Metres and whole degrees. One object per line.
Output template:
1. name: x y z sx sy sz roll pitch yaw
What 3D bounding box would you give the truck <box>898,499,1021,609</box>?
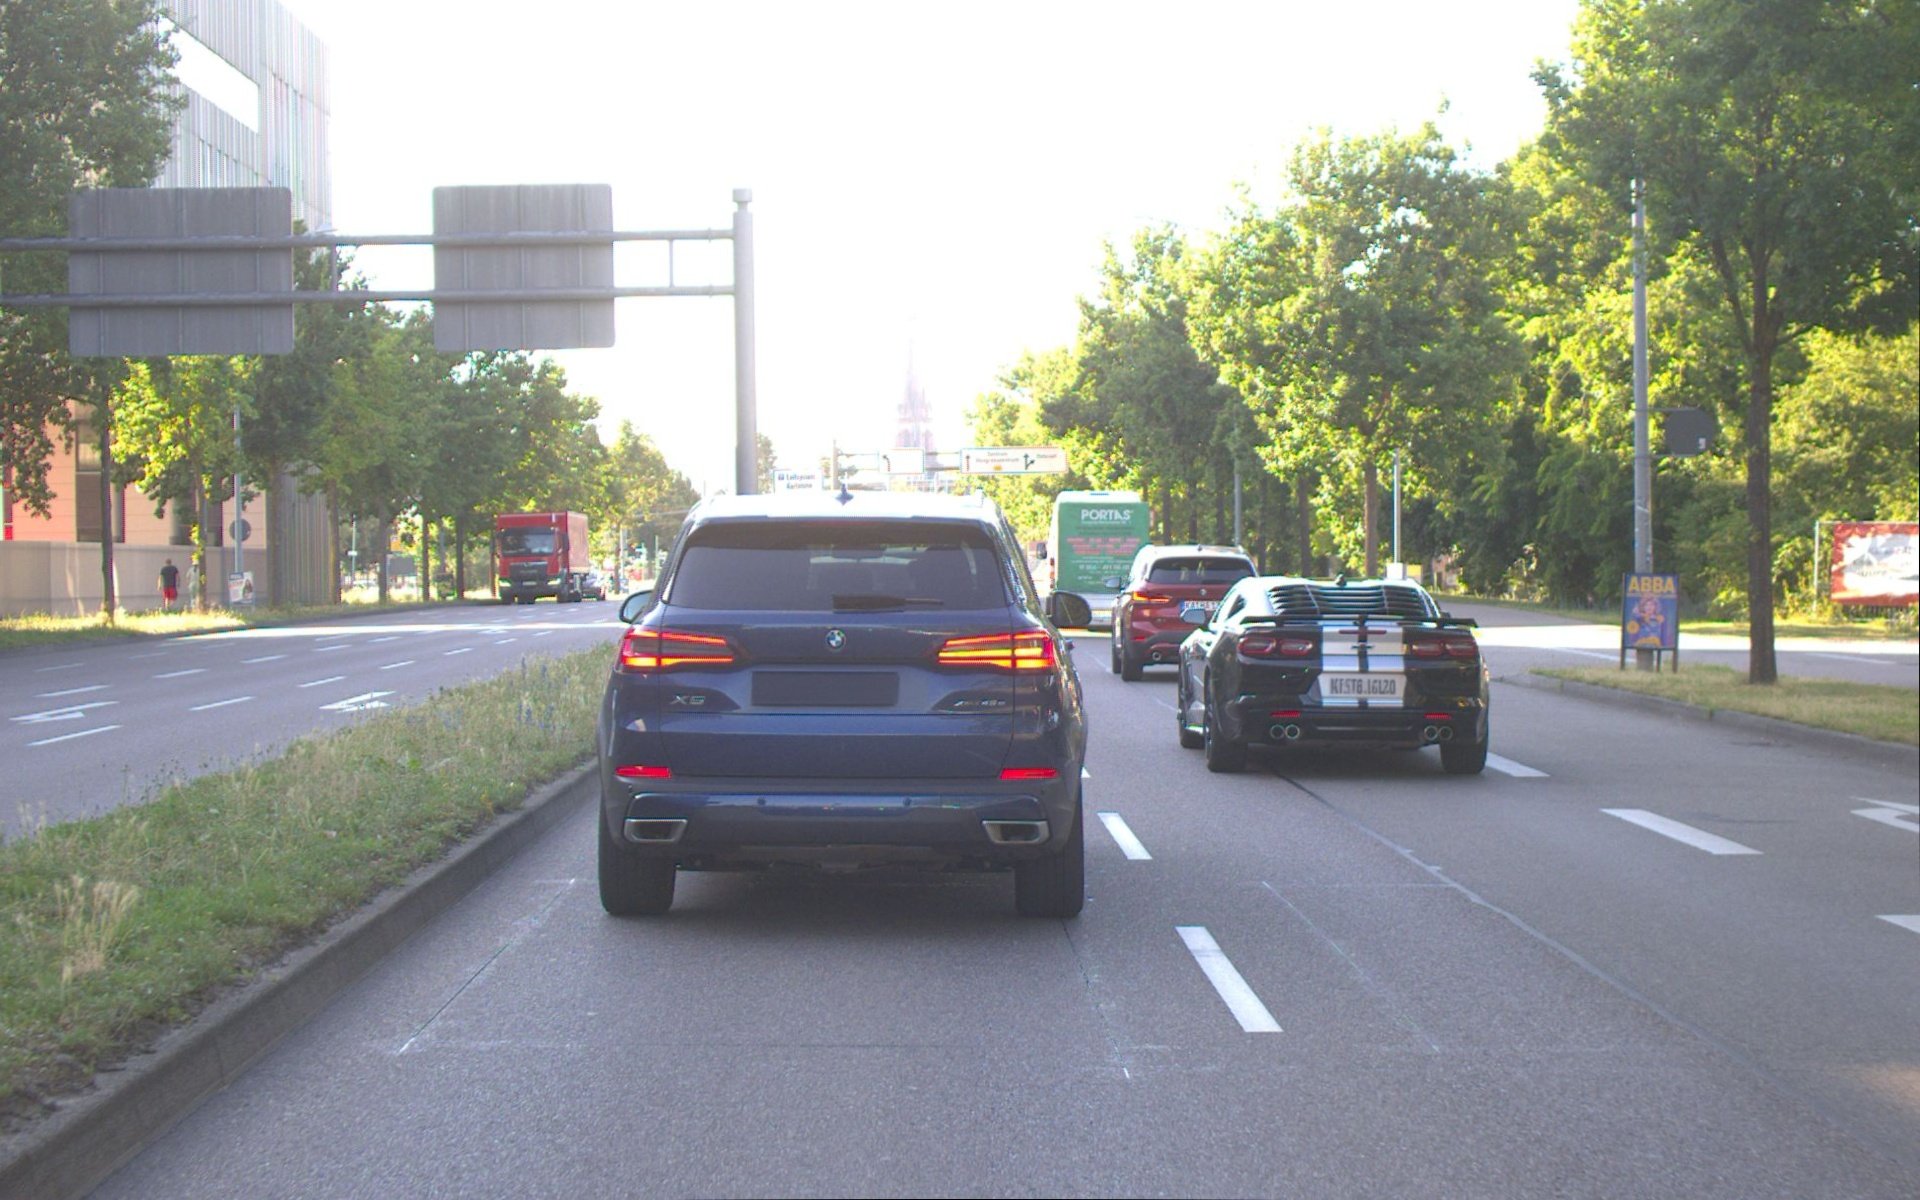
1. truck: -0.065 -1.119 83.816 2.580 2.549 6.252 -1 1 -4

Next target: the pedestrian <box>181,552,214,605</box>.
1. pedestrian: -23.208 -0.648 104.678 0.776 1.596 0.909 -1 1 0

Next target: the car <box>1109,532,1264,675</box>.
1. car: 2.738 0.063 41.307 1.747 1.615 3.819 -1 -1 4

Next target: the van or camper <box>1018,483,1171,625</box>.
1. van or camper: 2.563 -0.905 67.327 2.284 2.620 6.584 0 1 -4

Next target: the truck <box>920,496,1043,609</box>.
1. truck: 0.477 -1.141 83.159 2.219 2.642 4.775 -1 1 -9

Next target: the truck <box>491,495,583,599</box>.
1. truck: -16.145 -2.035 131.734 2.998 3.798 10.091 -1 1 -4

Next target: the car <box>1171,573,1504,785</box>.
1. car: 2.570 0.490 24.426 1.854 1.333 4.625 1 1 0

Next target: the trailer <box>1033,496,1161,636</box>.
1. trailer: 2.405 -0.603 61.241 2.090 2.392 3.501 1 0 0

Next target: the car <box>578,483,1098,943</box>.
1. car: -0.454 0.424 15.348 1.955 1.721 4.699 0 0 0
